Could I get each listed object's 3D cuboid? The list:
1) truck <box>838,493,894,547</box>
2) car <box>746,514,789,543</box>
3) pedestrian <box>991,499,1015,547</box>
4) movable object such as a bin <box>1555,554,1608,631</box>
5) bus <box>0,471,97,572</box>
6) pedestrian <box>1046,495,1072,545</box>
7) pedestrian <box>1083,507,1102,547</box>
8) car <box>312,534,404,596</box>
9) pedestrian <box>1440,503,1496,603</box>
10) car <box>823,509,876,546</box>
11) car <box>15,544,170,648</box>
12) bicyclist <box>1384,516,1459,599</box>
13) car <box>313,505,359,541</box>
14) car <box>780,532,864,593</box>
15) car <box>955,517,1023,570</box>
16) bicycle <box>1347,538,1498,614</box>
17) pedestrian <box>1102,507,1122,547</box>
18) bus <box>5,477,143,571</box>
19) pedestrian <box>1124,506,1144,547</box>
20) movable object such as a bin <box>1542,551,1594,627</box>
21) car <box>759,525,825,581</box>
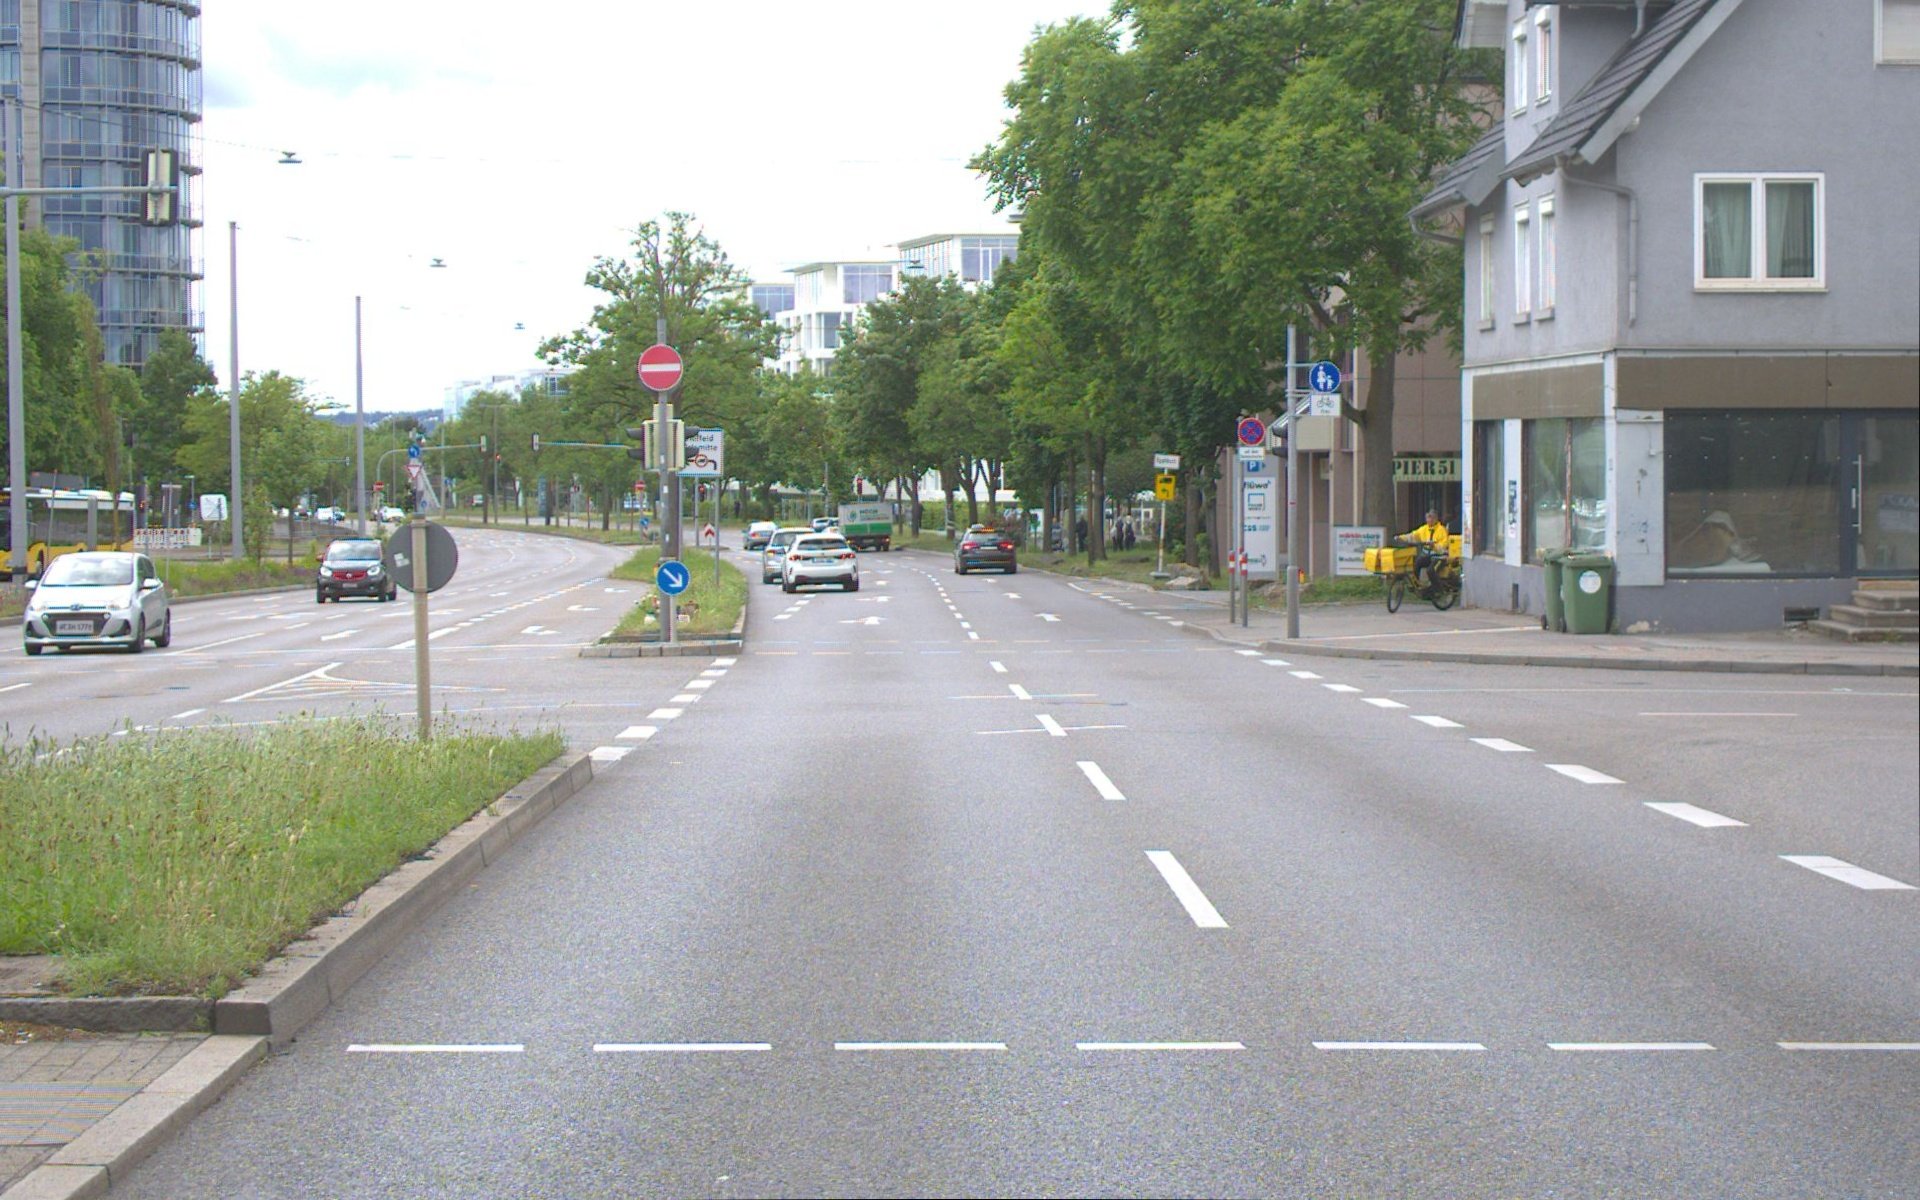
[{"bbox_3d":[-4.281,-3.643,156.467,2.251,2.408,4.934,0,1,-5],"label":"truck"},{"bbox_3d":[-9.710,-3.594,173.149,1.967,1.415,4.023,-1,1,-5],"label":"car"},{"bbox_3d":[2.064,-3.706,165.798,0.930,2.300,1.011,1,0,-10],"label":"pedestrian"},{"bbox_3d":[7.956,-0.103,44.049,0.529,0.976,0.736,-1,1,-1],"label":"movable object such as a bin"},{"bbox_3d":[-31.408,-2.568,114.460,3.144,3.214,10.286,-1,1,-3],"label":"bus"},{"bbox_3d":[3.999,-3.221,139.009,0.971,2.007,0.981,1,0,-1],"label":"pedestrian"},{"bbox_3d":[5.206,-2.864,135.103,0.650,1.564,0.671,-1,1,-8],"label":"pedestrian"},{"bbox_3d":[-14.829,-0.870,84.818,1.702,1.487,3.562,-1,1,-1],"label":"car"},{"bbox_3d":[9.028,-0.835,61.087,0.706,1.773,0.869,0,1,30],"label":"pedestrian"},{"bbox_3d":[-5.328,-3.475,165.064,2.251,1.751,4.934,-1,1,-5],"label":"car"},{"bbox_3d":[-12.809,-0.091,50.922,1.684,1.457,3.556,-1,1,-5],"label":"car"},{"bbox_3d":[7.611,-0.706,56.724,0.626,1.352,1.077,-1,1,-38],"label":"bicyclist"},{"bbox_3d":[-36.356,-4.461,200.256,1.965,2.007,4.000,1,1,-1],"label":"car"},{"bbox_3d":[-3.438,-0.950,86.566,1.993,1.472,4.256,-1,1,-1],"label":"car"},{"bbox_3d":[0.864,-1.711,105.391,1.889,1.489,4.099,-2,0,-2],"label":"car"},{"bbox_3d":[7.642,-0.409,56.749,2.431,1.213,1.077,-1,1,-38],"label":"bicycle"},{"bbox_3d":[5.984,-2.881,135.091,0.650,1.564,0.671,-1,1,-8],"label":"pedestrian"},{"bbox_3d":[-31.748,-2.709,123.464,3.144,3.214,7.766,-1,1,-2],"label":"bus"},{"bbox_3d":[6.812,-2.882,134.921,0.650,1.564,0.671,-1,1,-8],"label":"pedestrian"},{"bbox_3d":[7.928,-0.152,44.838,0.529,0.976,0.736,-1,1,-1],"label":"movable object such as a bin"},{"bbox_3d":[-4.789,-1.339,97.581,1.822,1.535,4.115,-1,1,-3],"label":"car"}]
